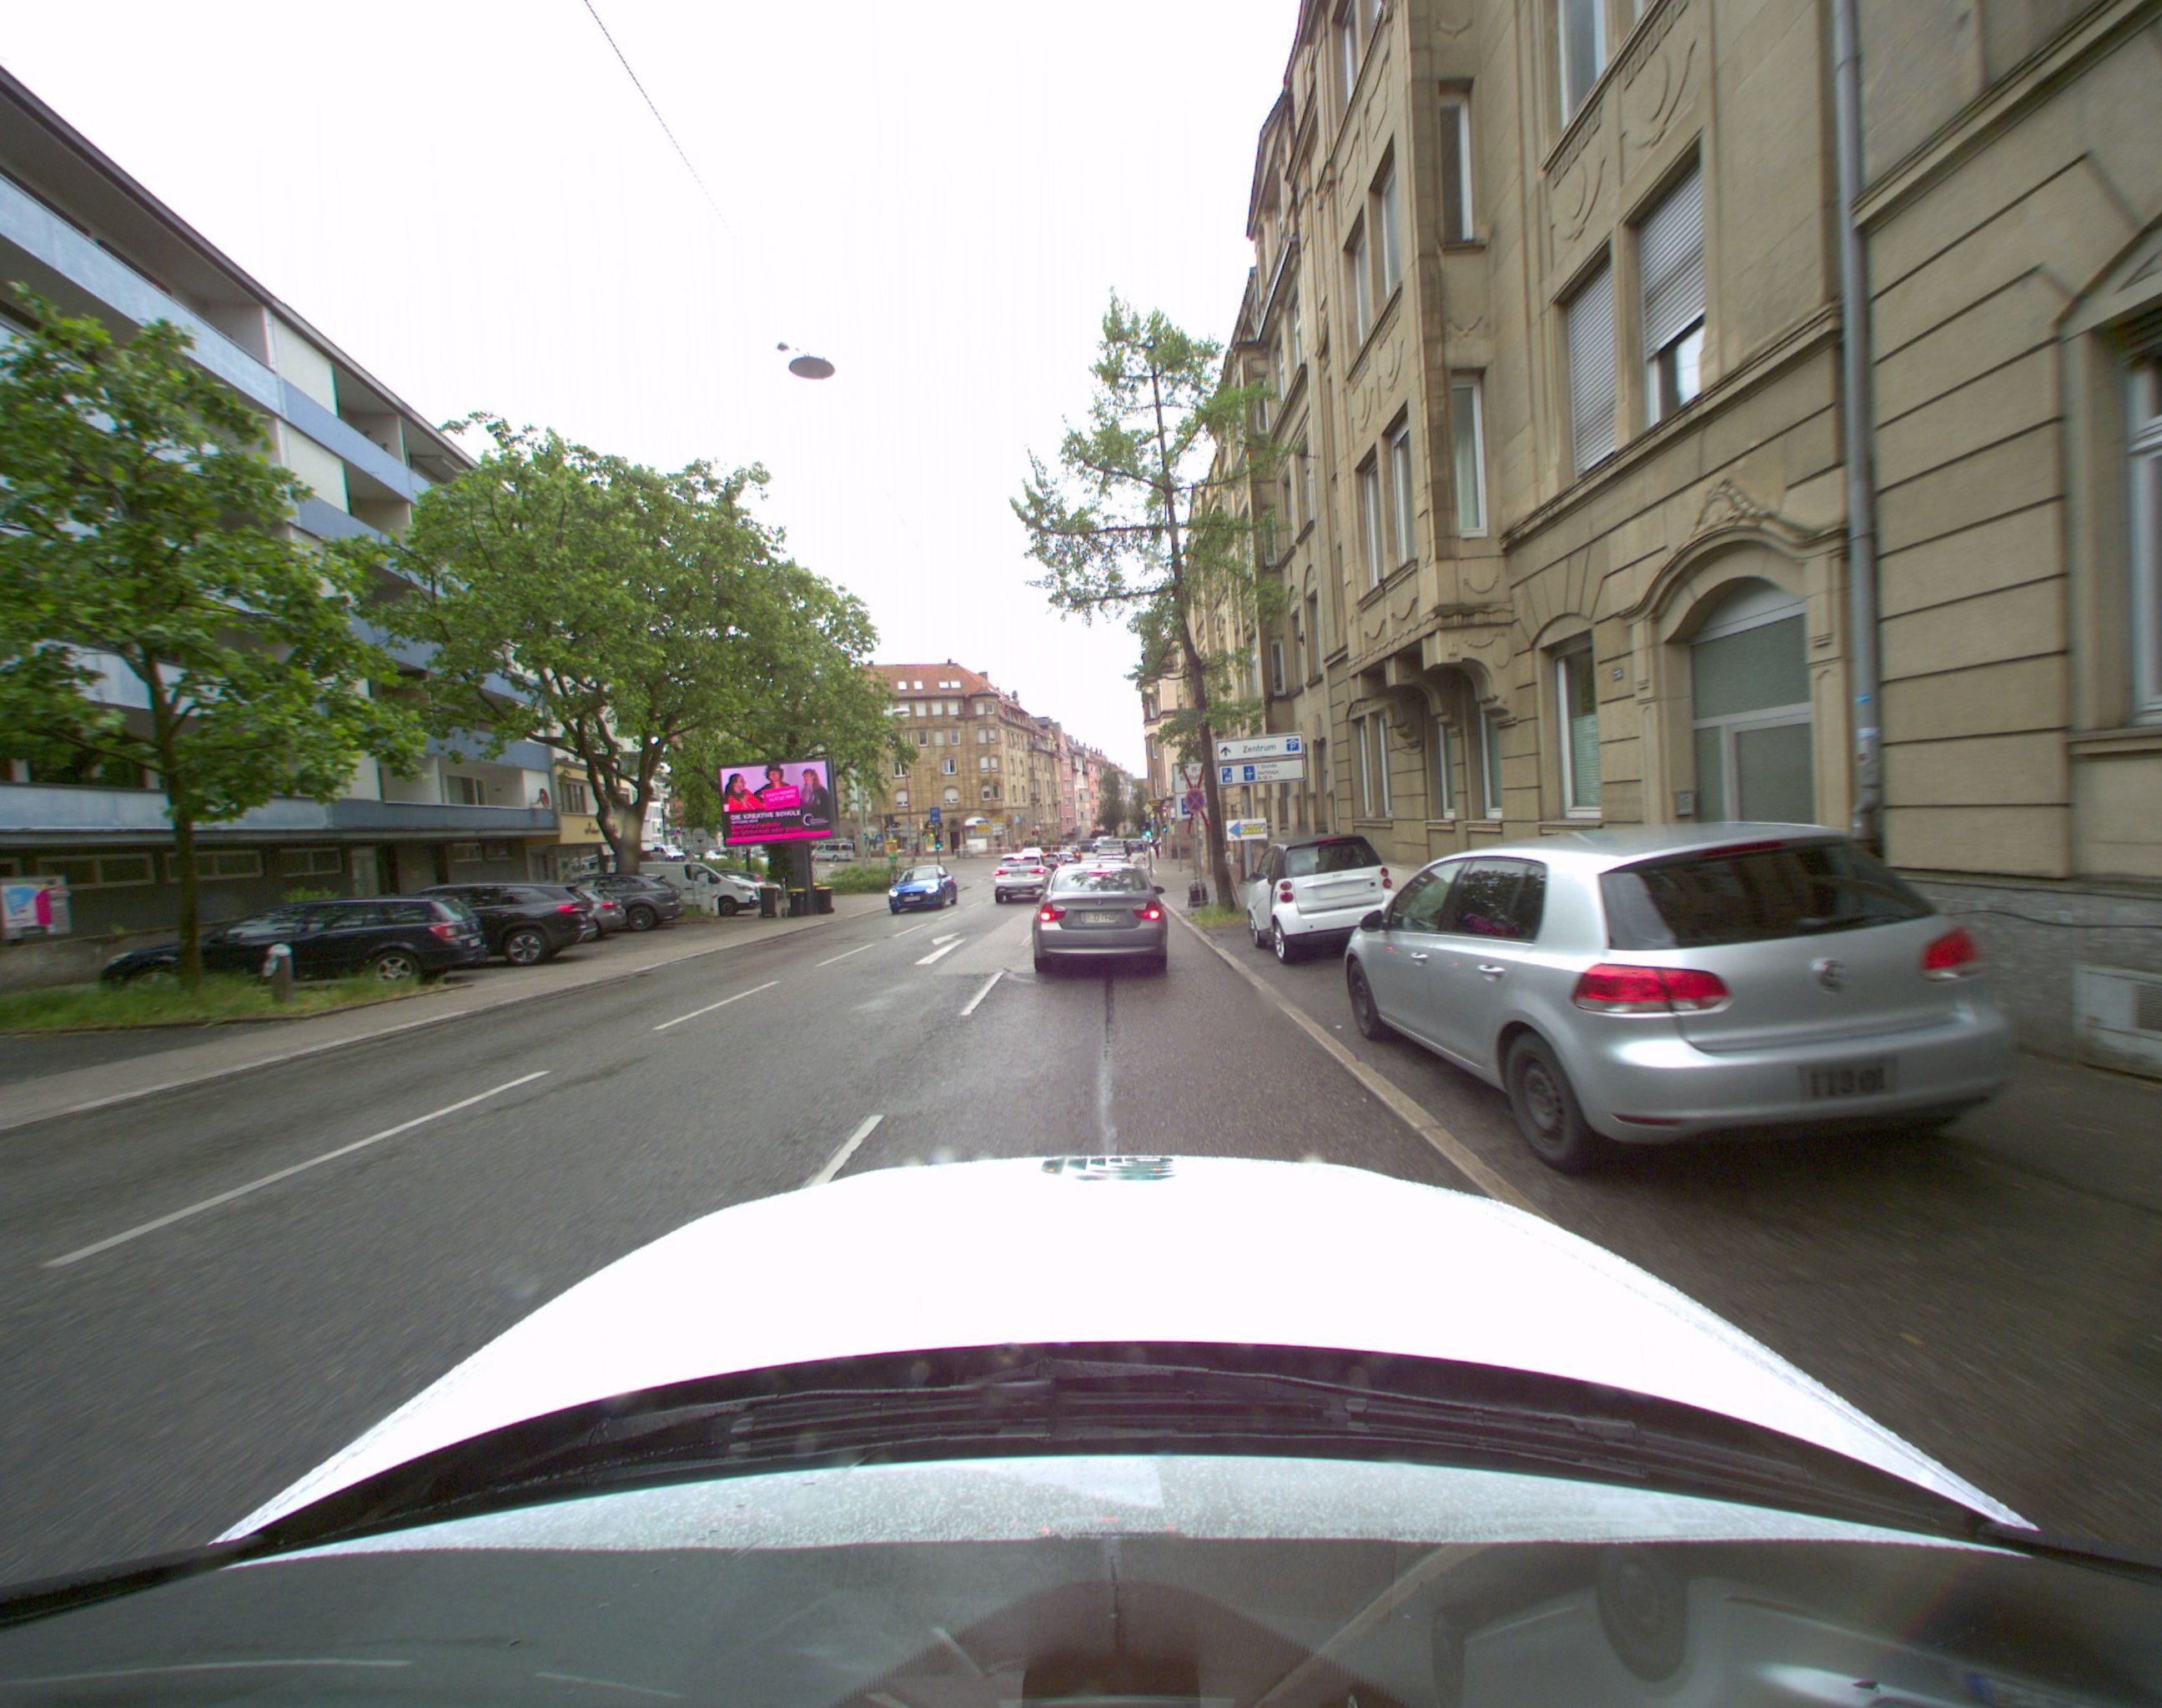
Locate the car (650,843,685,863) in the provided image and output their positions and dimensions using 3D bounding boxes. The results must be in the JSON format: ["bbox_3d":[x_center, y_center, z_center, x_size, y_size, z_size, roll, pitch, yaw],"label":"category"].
[{"bbox_3d":[-43.842,-0.131,86.327,3.948,2.013,1.587,-2,0,34],"label":"car"}]

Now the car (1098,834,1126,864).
[{"bbox_3d":[2.296,-0.384,60.458,1.986,2.106,4.002,-1,0,2],"label":"car"}]

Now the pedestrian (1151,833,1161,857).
[{"bbox_3d":[5.992,-0.702,65.123,0.739,1.910,0.659,-3,0,1],"label":"pedestrian"}]

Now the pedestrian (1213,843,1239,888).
[{"bbox_3d":[5.080,0.401,28.567,0.629,1.508,0.693,-7,0,1],"label":"pedestrian"}]

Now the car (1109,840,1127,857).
[{"bbox_3d":[3.626,-0.486,79.207,1.717,1.552,4.004,0,-1,4],"label":"car"}]

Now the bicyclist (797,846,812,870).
[{"bbox_3d":[-21.844,0.296,64.314,0.775,1.821,0.775,-4,0,41],"label":"bicyclist"}]

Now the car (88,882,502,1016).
[{"bbox_3d":[-12.432,1.414,13.319,4.372,1.574,1.930,-4,0,-21],"label":"car"}]

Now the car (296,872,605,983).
[{"bbox_3d":[-12.160,1.351,16.118,4.381,1.672,1.842,-4,0,-21],"label":"car"}]

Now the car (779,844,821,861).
[{"bbox_3d":[-30.689,-0.180,88.843,4.238,1.838,2.013,1,2,30],"label":"car"}]

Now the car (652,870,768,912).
[{"bbox_3d":[-15.290,1.497,33.807,4.184,1.456,1.783,-2,0,-19],"label":"car"}]

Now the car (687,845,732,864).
[{"bbox_3d":[-37.680,0.092,82.525,4.195,1.726,2.013,-1,3,31],"label":"car"}]

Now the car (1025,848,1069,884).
[{"bbox_3d":[-1.664,0.564,41.179,1.752,1.707,4.004,-2,0,3],"label":"car"}]

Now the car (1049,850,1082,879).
[{"bbox_3d":[-0.933,0.656,51.660,1.752,1.707,4.004,-2,0,3],"label":"car"}]

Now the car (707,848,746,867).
[{"bbox_3d":[-41.284,0.402,94.726,4.238,2.101,2.013,1,2,30],"label":"car"}]

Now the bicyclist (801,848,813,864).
[{"bbox_3d":[-21.784,0.141,64.690,0.563,1.273,0.693,-1,-1,44],"label":"bicyclist"}]

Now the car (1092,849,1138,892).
[{"bbox_3d":[1.305,0.571,30.467,1.588,1.464,4.004,-1,0,3],"label":"car"}]

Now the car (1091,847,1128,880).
[{"bbox_3d":[1.466,0.449,42.489,1.753,1.567,4.001,-2,0,1],"label":"car"}]

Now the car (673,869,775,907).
[{"bbox_3d":[-15.880,1.481,36.432,3.984,1.450,1.758,-2,0,-19],"label":"car"}]

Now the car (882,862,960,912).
[{"bbox_3d":[-5.295,1.066,27.448,1.708,1.450,3.744,-3,0,2],"label":"car"}]

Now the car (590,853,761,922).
[{"bbox_3d":[-14.075,1.118,28.663,5.075,2.105,1.979,-2,0,-19],"label":"car"}]

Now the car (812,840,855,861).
[{"bbox_3d":[-26.242,-0.390,86.290,4.238,2.101,2.013,1,2,30],"label":"car"}]

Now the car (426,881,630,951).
[{"bbox_3d":[-13.743,1.492,20.544,3.939,1.430,1.734,-2,0,-23],"label":"car"}]

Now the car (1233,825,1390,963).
[{"bbox_3d":[3.102,0.484,11.469,1.294,1.543,2.977,-7,0,2],"label":"car"}]

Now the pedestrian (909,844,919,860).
[{"bbox_3d":[-16.319,-0.177,79.724,0.531,1.577,0.724,-3,0,25],"label":"pedestrian"}]

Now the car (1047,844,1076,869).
[{"bbox_3d":[-1.362,0.157,59.488,1.752,1.707,4.004,-2,0,3],"label":"car"}]

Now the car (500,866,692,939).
[{"bbox_3d":[-13.839,1.338,23.552,4.369,1.784,1.927,-2,0,-19],"label":"car"}]

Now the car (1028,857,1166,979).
[{"bbox_3d":[0.295,0.771,11.539,1.617,1.383,3.618,-2,0,3],"label":"car"}]

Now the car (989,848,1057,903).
[{"bbox_3d":[-1.946,0.680,28.451,1.861,1.625,4.002,-4,1,2],"label":"car"}]

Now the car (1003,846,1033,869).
[{"bbox_3d":[-4.899,0.267,63.837,1.731,1.526,4.473,-6,0,2],"label":"car"}]

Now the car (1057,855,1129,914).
[{"bbox_3d":[0.411,0.757,22.190,1.752,1.383,4.004,-2,0,3],"label":"car"}]

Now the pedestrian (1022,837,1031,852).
[{"bbox_3d":[-6.023,-1.035,89.964,0.727,1.577,0.530,-3,0,11],"label":"pedestrian"}]

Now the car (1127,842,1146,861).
[{"bbox_3d":[6.156,-0.281,89.932,1.715,2.014,4.009,0,-1,8],"label":"car"}]

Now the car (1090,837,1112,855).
[{"bbox_3d":[2.318,-0.916,92.100,1.751,1.925,4.335,-3,0,9],"label":"car"}]

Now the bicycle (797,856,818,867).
[{"bbox_3d":[-21.735,0.594,64.731,0.568,0.858,1.531,-1,-1,44],"label":"bicycle"}]

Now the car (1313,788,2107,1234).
[{"bbox_3d":[2.893,0.578,5.018,1.753,1.451,4.002,-7,0,2],"label":"car"}]

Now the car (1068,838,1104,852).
[{"bbox_3d":[0.718,-1.341,118.824,5.157,2.014,2.699,0,-1,1],"label":"car"}]

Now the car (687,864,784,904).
[{"bbox_3d":[-16.386,1.380,38.835,4.138,1.653,1.757,-2,0,-21],"label":"car"}]

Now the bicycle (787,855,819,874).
[{"bbox_3d":[-21.914,0.844,64.264,0.665,1.320,2.290,-4,0,42],"label":"bicycle"}]
